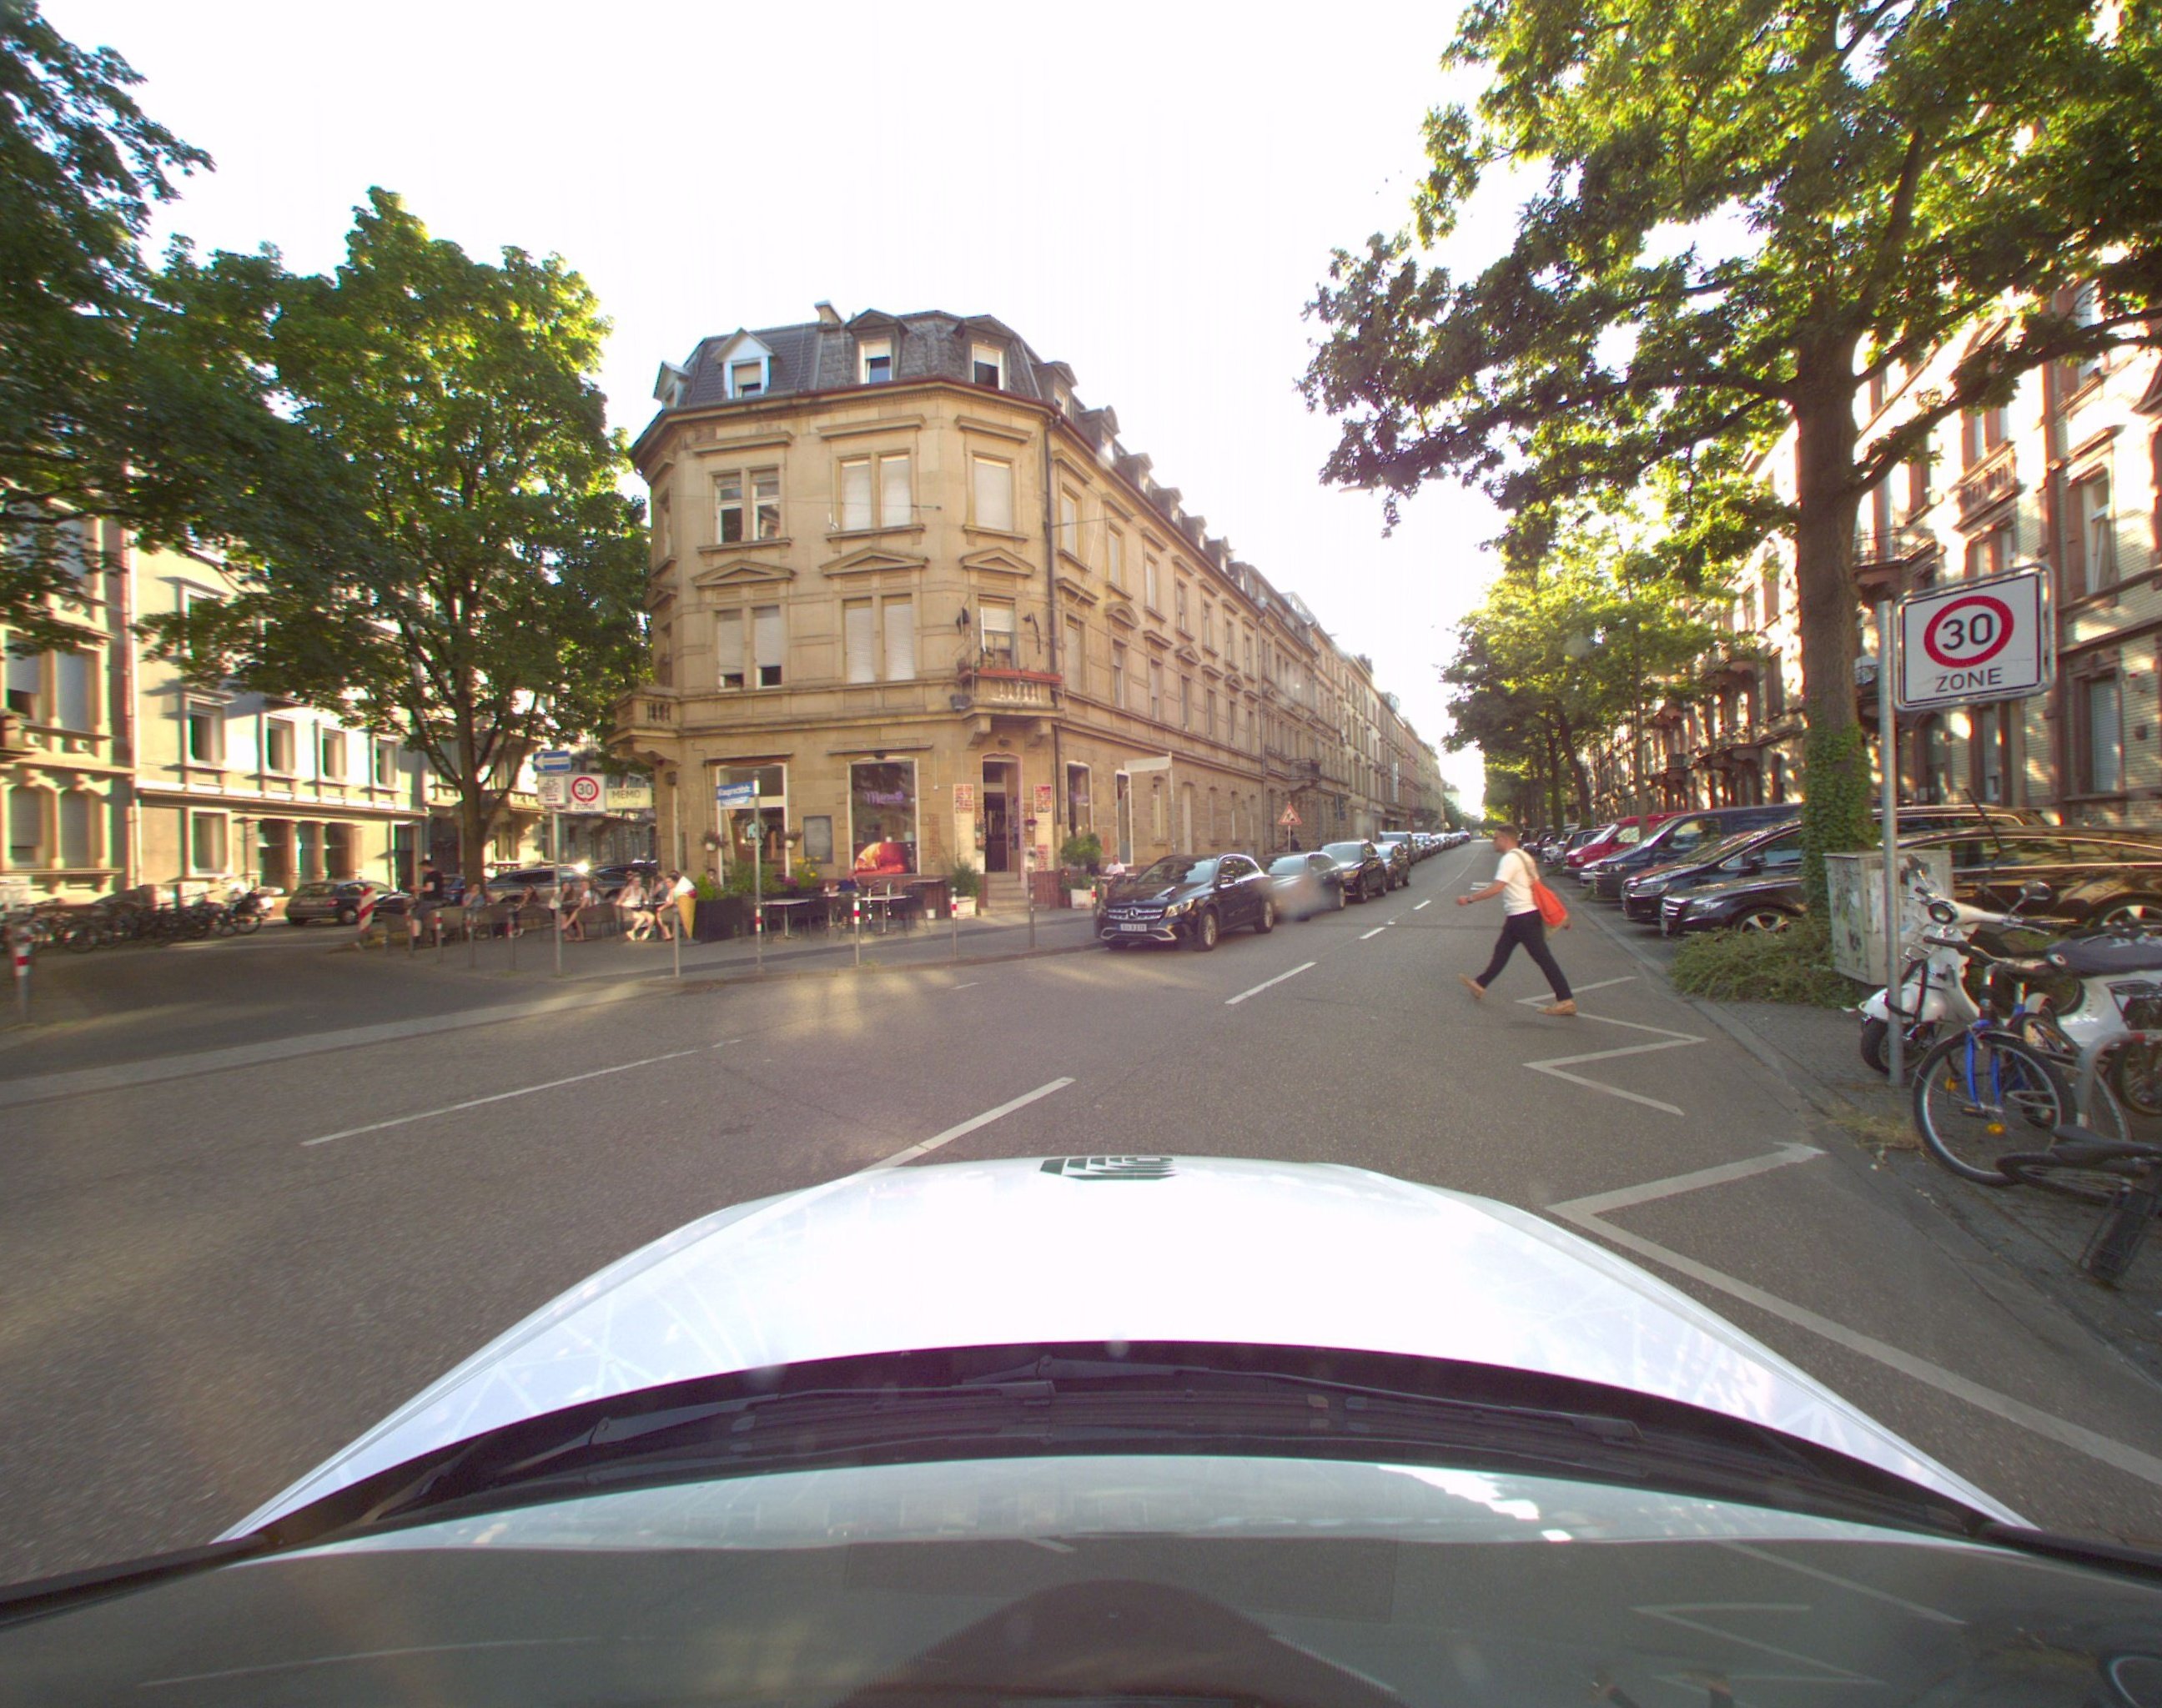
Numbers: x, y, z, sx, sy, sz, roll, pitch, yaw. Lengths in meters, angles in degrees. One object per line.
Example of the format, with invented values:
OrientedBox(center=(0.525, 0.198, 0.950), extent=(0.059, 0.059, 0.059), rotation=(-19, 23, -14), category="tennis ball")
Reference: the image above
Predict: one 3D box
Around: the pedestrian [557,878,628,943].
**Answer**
OrientedBox(center=(-9.959, 1.148, 16.613), extent=(1.012, 1.248, 0.753), rotation=(-2, 1, 24), category="pedestrian")

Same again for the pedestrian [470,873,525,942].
OrientedBox(center=(-12.859, 1.172, 17.957), extent=(0.659, 1.441, 0.772), rotation=(-4, 0, 39), category="pedestrian")

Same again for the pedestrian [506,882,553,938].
OrientedBox(center=(-12.757, 1.285, 18.836), extent=(0.659, 1.215, 0.682), rotation=(-4, 0, 38), category="pedestrian")

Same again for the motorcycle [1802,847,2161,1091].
OrientedBox(center=(5.517, 0.628, 4.676), extent=(1.880, 1.234, 0.690), rotation=(-5, -1, 28), category="motorcycle")

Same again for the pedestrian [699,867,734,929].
OrientedBox(center=(-8.160, 0.980, 18.240), extent=(0.476, 1.367, 0.436), rotation=(-2, 0, 19), category="pedestrian")

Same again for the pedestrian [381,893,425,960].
OrientedBox(center=(-14.139, 1.495, 16.988), extent=(0.498, 1.320, 0.576), rotation=(-2, 1, 38), category="pedestrian")

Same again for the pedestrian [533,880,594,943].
OrientedBox(center=(-10.782, 1.185, 16.974), extent=(0.698, 1.248, 0.753), rotation=(-2, 1, 25), category="pedestrian")

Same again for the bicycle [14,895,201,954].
OrientedBox(center=(-23.064, 1.652, 19.349), extent=(3.124, 1.180, 0.750), rotation=(-2, 0, -8), category="bicycle")

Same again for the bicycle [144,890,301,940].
OrientedBox(center=(-23.310, 1.645, 22.168), extent=(3.124, 1.180, 0.750), rotation=(-2, 0, -8), category="bicycle")

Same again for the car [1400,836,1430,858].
OrientedBox(center=(23.855, -0.513, 58.090), extent=(1.742, 1.467, 4.024), rotation=(0, 1, 26), category="car")

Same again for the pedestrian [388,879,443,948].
OrientedBox(center=(-14.475, 1.286, 17.719), extent=(0.659, 1.412, 0.772), rotation=(-4, 0, 41), category="pedestrian")

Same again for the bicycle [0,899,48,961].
OrientedBox(center=(-22.685, 1.567, 16.096), extent=(3.124, 1.180, 0.750), rotation=(-2, 0, -8), category="bicycle")

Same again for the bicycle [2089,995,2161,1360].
OrientedBox(center=(3.904, 0.835, 2.030), extent=(1.921, 0.988, 0.497), rotation=(-4, -2, 5), category="bicycle")

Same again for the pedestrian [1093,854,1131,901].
OrientedBox(center=(0.842, 0.624, 21.849), extent=(0.719, 1.214, 0.761), rotation=(-2, 0, 25), category="pedestrian")

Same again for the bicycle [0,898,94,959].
OrientedBox(center=(-22.766, 1.583, 16.940), extent=(3.124, 1.180, 0.750), rotation=(-2, 0, -8), category="bicycle")

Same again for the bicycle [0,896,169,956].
OrientedBox(center=(-22.954, 1.628, 18.547), extent=(3.124, 1.180, 0.750), rotation=(-2, 0, -8), category="bicycle")

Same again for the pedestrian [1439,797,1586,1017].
OrientedBox(center=(4.035, 0.466, 7.664), extent=(1.104, 1.898, 0.848), rotation=(-2, 0, 27), category="pedestrian")

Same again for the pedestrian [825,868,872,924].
OrientedBox(center=(-5.231, 0.932, 18.330), extent=(0.721, 1.214, 0.758), rotation=(-2, 0, 8), category="pedestrian")

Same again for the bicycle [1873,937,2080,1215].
OrientedBox(center=(4.128, 0.922, 3.727), extent=(1.418, 0.927, 0.351), rotation=(-3, -2, -33), category="bicycle")

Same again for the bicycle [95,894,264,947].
OrientedBox(center=(-23.220, 1.700, 21.029), extent=(3.124, 1.180, 0.750), rotation=(-2, 0, -8), category="bicycle")

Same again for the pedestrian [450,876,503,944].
OrientedBox(center=(-13.726, 1.260, 18.489), extent=(0.659, 1.441, 0.772), rotation=(-4, 0, 39), category="pedestrian")

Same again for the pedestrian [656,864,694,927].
OrientedBox(center=(-9.515, 0.979, 19.104), extent=(0.563, 1.431, 0.484), rotation=(-2, 0, 16), category="pedestrian")

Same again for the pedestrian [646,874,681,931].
OrientedBox(center=(-9.385, 1.080, 18.312), extent=(0.476, 1.248, 0.436), rotation=(-2, 1, 25), category="pedestrian")

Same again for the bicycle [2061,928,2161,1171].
OrientedBox(center=(4.573, 0.837, 3.272), extent=(0.350, 0.927, 1.535), rotation=(-5, -2, 35), category="bicycle")

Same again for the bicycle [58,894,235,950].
OrientedBox(center=(-23.112, 1.675, 20.192), extent=(3.124, 1.180, 0.750), rotation=(-2, 0, -8), category="bicycle")

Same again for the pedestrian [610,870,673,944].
OrientedBox(center=(-8.763, 1.049, 16.256), extent=(0.748, 1.411, 0.731), rotation=(-2, 0, 15), category="pedestrian")

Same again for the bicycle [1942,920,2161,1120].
OrientedBox(center=(5.628, 0.795, 3.960), extent=(1.912, 0.927, 0.356), rotation=(-5, -2, 26), category="bicycle")

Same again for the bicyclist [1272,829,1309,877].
OrientedBox(center=(8.155, -0.019, 31.687), extent=(0.986, 1.790, 1.215), rotation=(-3, -1, 31), category="bicyclist")

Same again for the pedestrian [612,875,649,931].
OrientedBox(center=(-10.308, 1.117, 18.632), extent=(0.476, 1.248, 0.513), rotation=(-2, 1, 25), category="pedestrian")

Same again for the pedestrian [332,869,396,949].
OrientedBox(center=(-15.628, 1.192, 17.762), extent=(0.660, 1.669, 0.771), rotation=(-4, 0, 26), category="pedestrian")

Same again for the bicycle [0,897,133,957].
OrientedBox(center=(-22.846, 1.603, 17.724), extent=(3.124, 1.180, 0.750), rotation=(-2, 0, -8), category="bicycle")

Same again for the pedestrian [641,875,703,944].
OrientedBox(center=(-7.997, 1.071, 15.930), extent=(0.737, 1.289, 0.746), rotation=(-2, 0, 17), category="pedestrian")

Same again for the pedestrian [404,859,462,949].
OrientedBox(center=(-13.484, 1.026, 16.941), extent=(0.564, 1.770, 0.772), rotation=(-4, 0, 39), category="pedestrian")

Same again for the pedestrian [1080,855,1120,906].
OrientedBox(center=(0.483, 0.671, 20.730), extent=(0.719, 1.259, 0.761), rotation=(-2, 0, 25), category="pedestrian")
